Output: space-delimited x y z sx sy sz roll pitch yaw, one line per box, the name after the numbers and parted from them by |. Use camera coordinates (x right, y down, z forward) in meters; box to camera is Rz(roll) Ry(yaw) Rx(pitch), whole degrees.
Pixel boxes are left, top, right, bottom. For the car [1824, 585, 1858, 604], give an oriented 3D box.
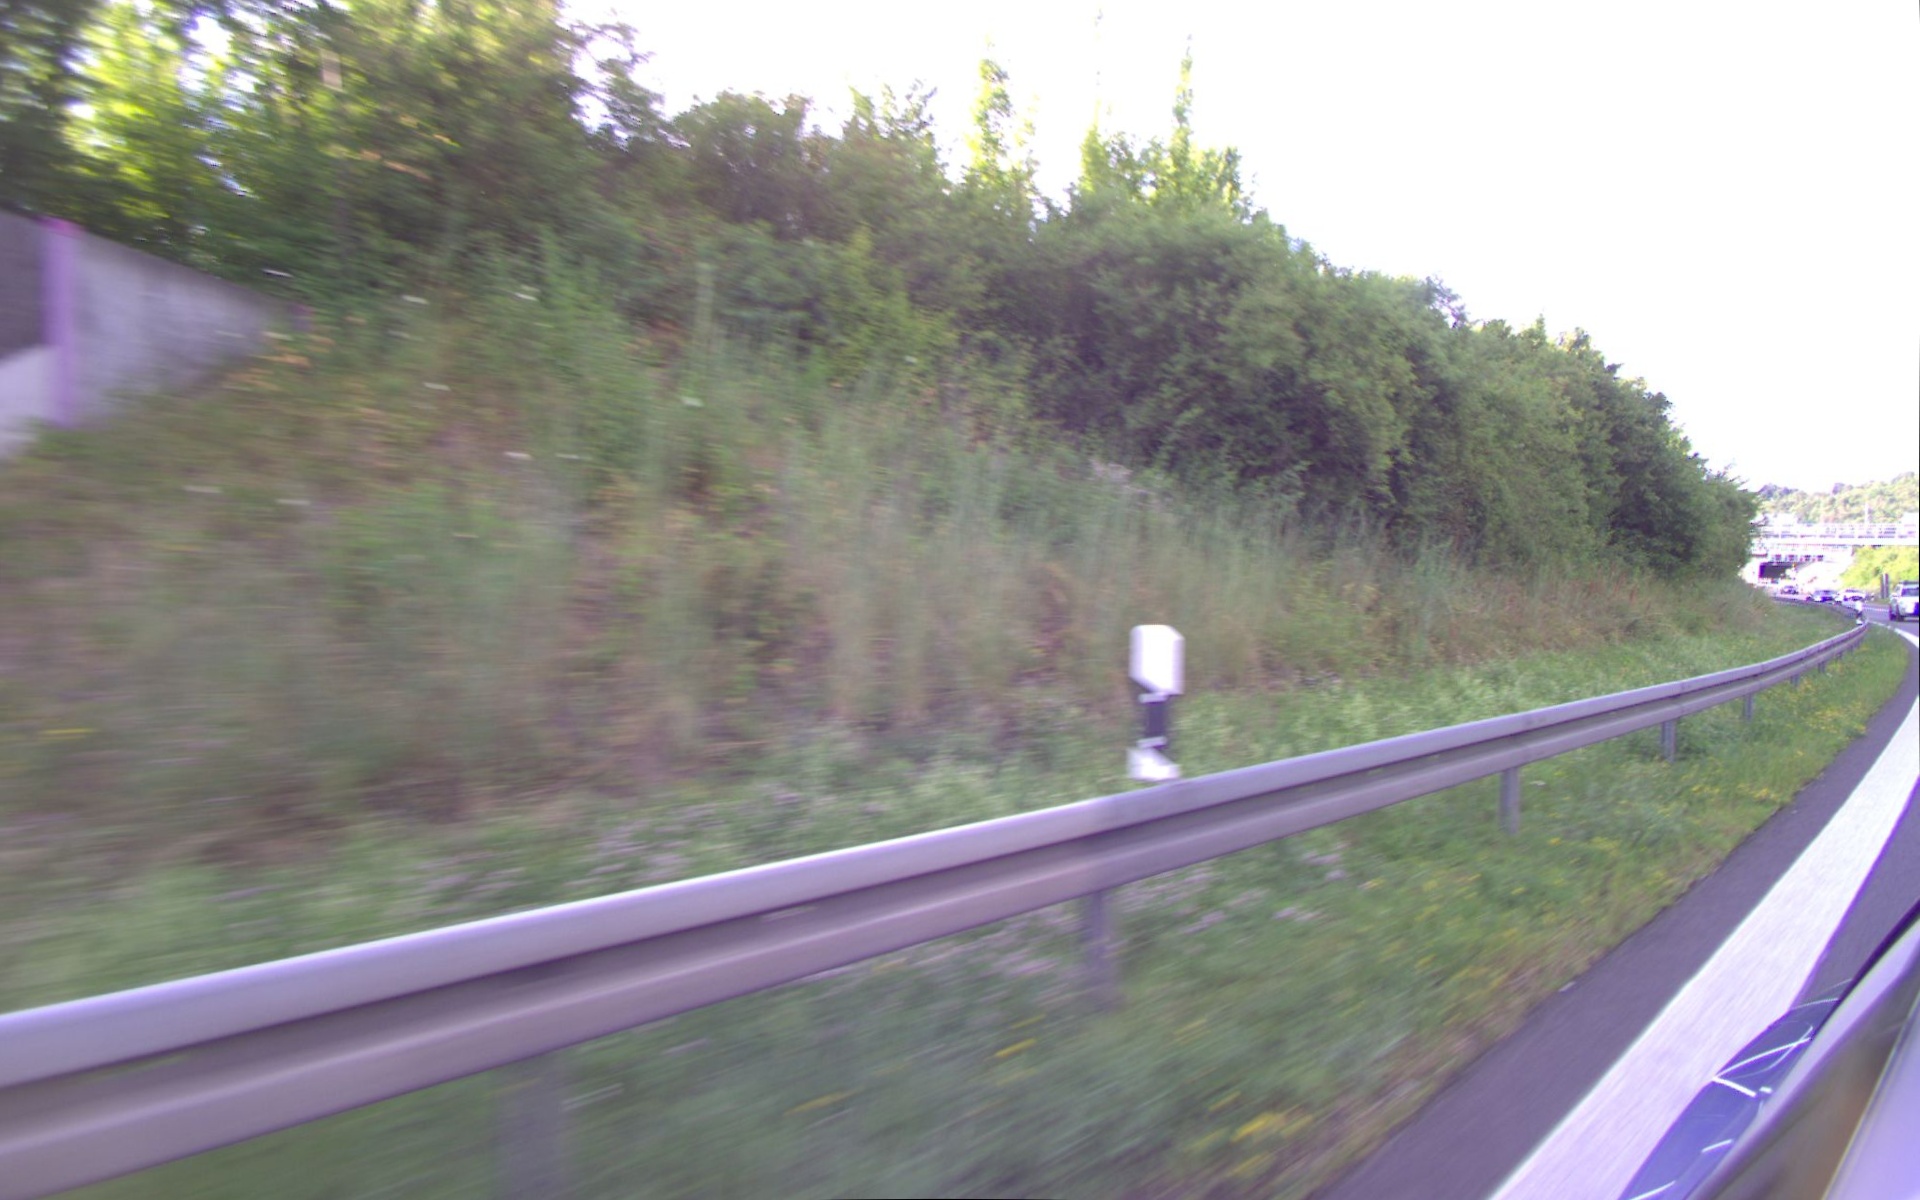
69.412 -0.473 79.759 1.610 1.478 3.618 1 1 34 | car

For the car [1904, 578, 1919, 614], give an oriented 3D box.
47.104 -0.205 48.956 1.898 1.685 3.942 2 2 40 | car
